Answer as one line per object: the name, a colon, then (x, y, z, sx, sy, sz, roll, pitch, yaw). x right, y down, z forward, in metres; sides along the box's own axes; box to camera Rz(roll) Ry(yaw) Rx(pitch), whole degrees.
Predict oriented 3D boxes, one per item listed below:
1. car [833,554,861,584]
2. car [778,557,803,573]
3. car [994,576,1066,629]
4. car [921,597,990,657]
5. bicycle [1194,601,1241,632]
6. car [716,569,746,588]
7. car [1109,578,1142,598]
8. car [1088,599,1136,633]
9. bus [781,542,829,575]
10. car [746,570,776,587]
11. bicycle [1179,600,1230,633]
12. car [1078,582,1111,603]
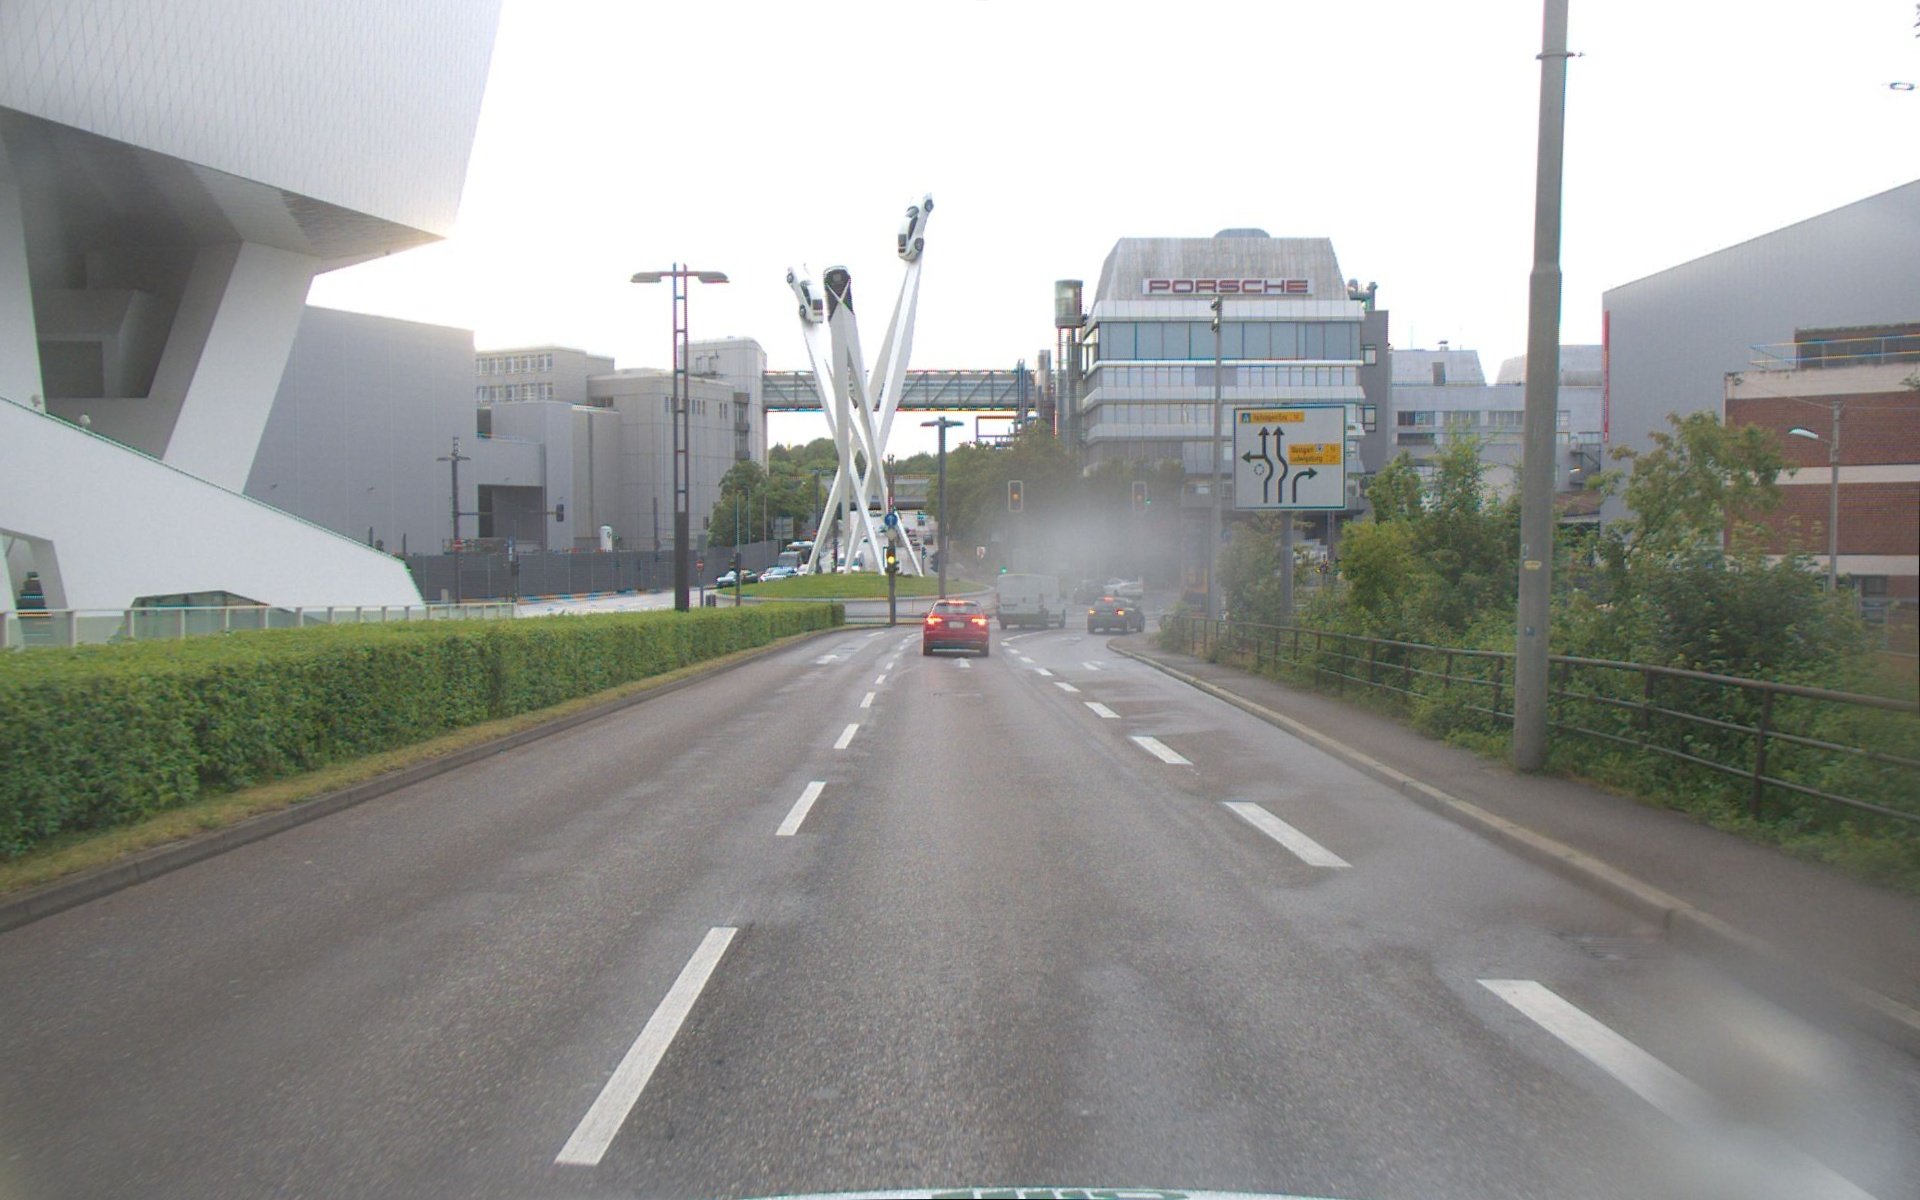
car: (-9.677, -2.677, 142.014, 1.952, 2.490, 5.427, -1, 1, 1)
car: (-15.955, -3.260, 155.533, 1.795, 1.498, 4.514, 0, 1, 1)
car: (2.996, 0.108, 69.639, 2.185, 2.144, 4.958, 0, 0, 13)
car: (-0.141, 0.682, 43.450, 1.736, 1.490, 3.732, 0, 0, -1)
bicycle: (9.840, 0.636, 63.304, 1.732, 1.160, 0.679, 0, -1, 6)
car: (-18.736, -1.747, 135.458, 1.795, 1.498, 4.514, 0, 1, 1)
car: (11.179, -0.807, 112.146, 1.634, 1.323, 3.883, 0, 0, -4)
car: (6.196, 0.641, 67.253, 1.576, 1.313, 3.569, 0, 0, 11)
bus: (-15.932, -4.266, 170.792, 2.612, 3.256, 12.678, 0, 1, 5)
car: (-16.341, -1.779, 135.674, 1.807, 1.361, 4.002, 0, 1, 2)
bicycle: (8.960, 0.607, 60.577, 1.762, 1.182, 0.592, -1, 0, 2)
car: (8.680, -0.453, 106.898, 1.527, 1.311, 3.410, 0, 0, -5)
